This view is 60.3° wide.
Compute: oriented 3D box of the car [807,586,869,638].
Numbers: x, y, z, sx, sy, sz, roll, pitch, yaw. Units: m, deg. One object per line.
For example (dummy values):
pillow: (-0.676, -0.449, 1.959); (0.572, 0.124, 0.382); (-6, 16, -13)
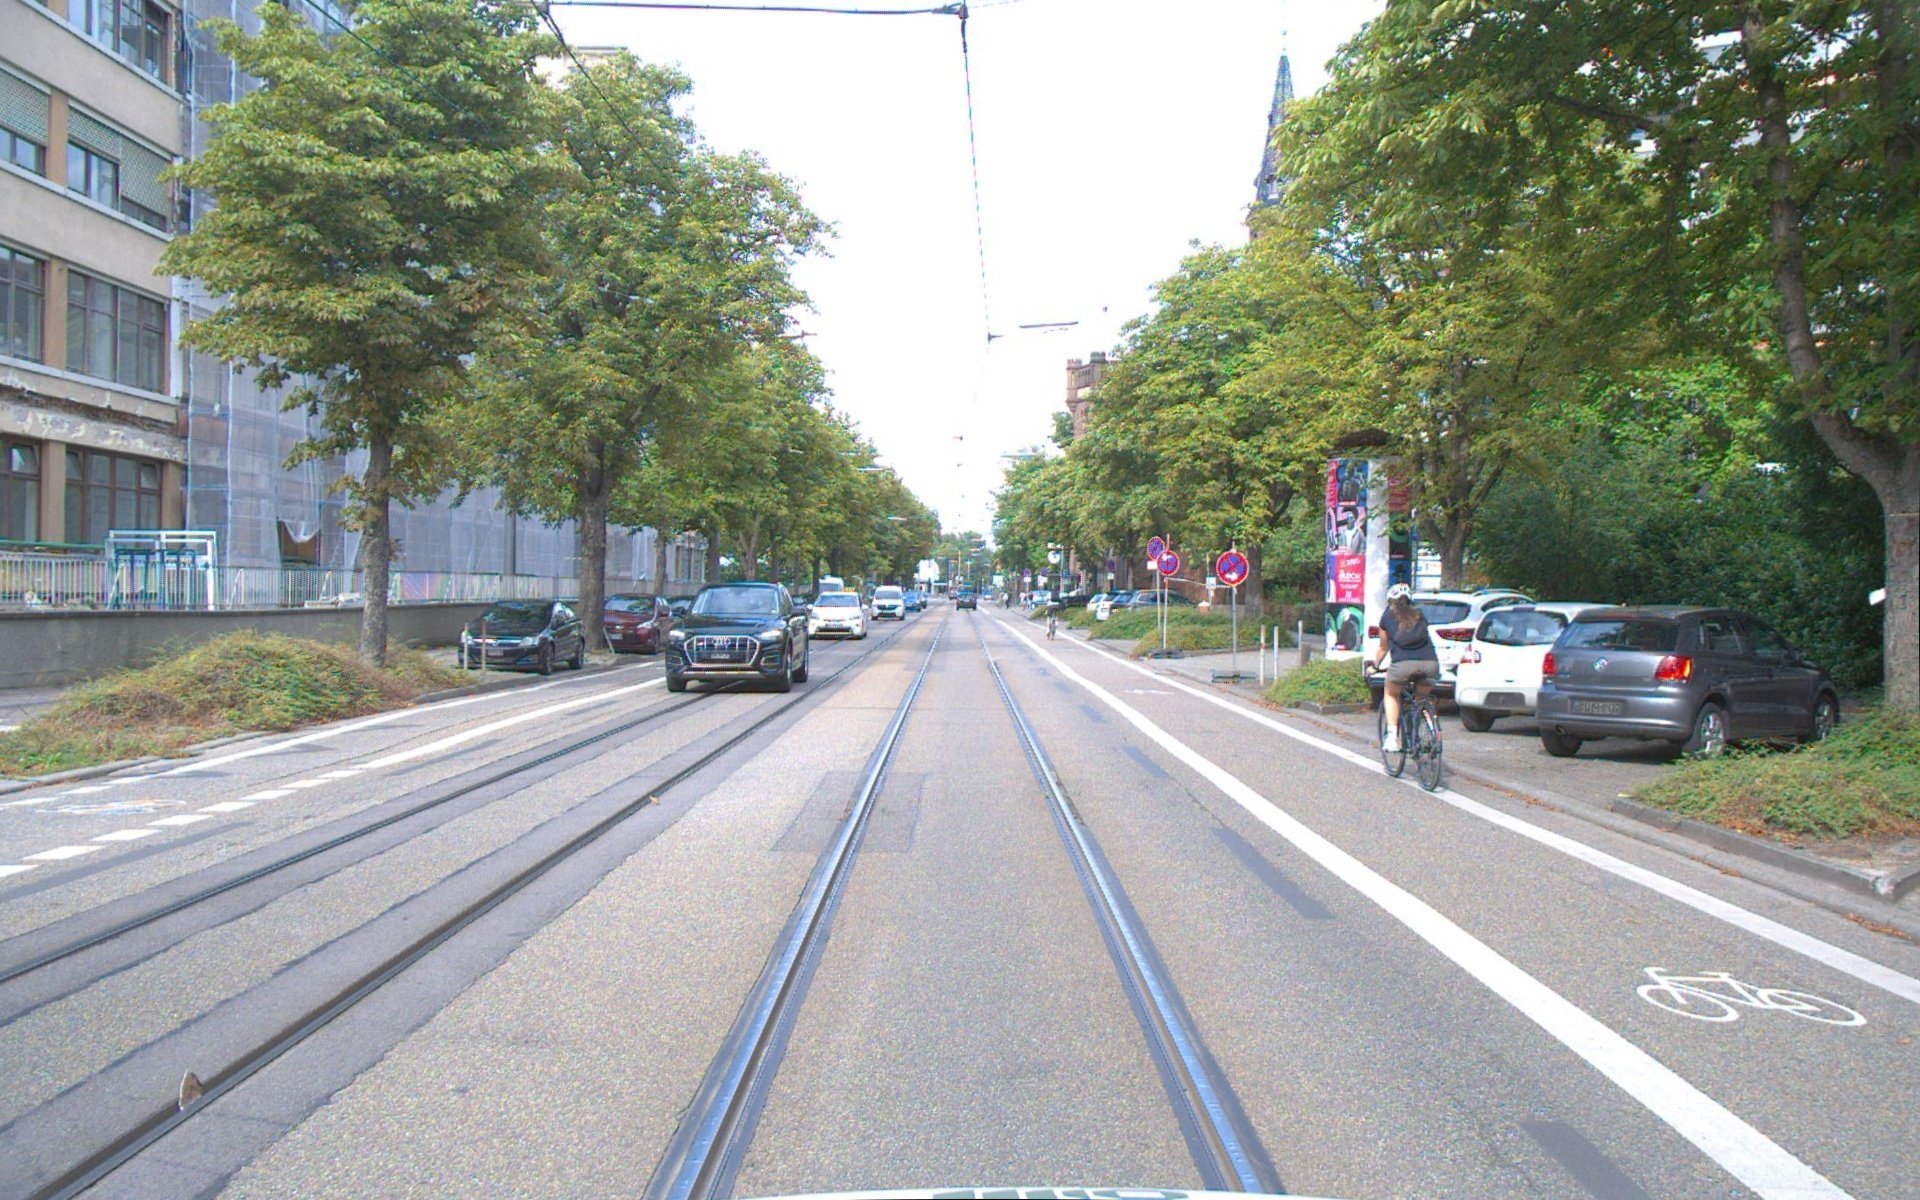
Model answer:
car: (-3.929, 0.360, 53.645); (1.697, 1.640, 4.334); (0, 0, 0)

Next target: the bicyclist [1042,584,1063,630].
bicyclist: (3.105, 0.242, 55.396); (0.645, 1.522, 0.929); (1, 0, 0)

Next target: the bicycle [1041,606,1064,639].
bicycle: (3.094, 0.734, 55.419); (0.650, 1.062, 1.841); (1, 0, 0)

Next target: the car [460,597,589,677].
car: (-8.385, 0.674, 32.112); (1.558, 1.427, 3.961); (1, 0, -2)

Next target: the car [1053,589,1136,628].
car: (5.760, 0.377, 70.611); (1.654, 1.630, 3.621); (0, 0, 44)

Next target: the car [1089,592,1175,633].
car: (7.147, 0.509, 68.484); (1.654, 1.630, 3.621); (0, 0, 44)

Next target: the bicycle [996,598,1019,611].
bicycle: (4.770, 0.450, 166.970); (2.226, 1.210, 0.769); (1, 0, 7)

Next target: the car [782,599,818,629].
car: (-7.988, 0.682, 82.807); (1.558, 1.427, 3.961); (1, 0, -2)

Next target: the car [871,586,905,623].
car: (-3.816, 0.207, 87.934); (1.697, 1.917, 4.376); (1, 0, -2)

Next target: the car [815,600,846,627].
car: (-7.281, 0.741, 93.011); (1.558, 1.427, 3.961); (1, 0, -2)

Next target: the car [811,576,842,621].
car: (-8.533, -0.113, 106.343); (1.686, 2.751, 5.468); (1, 0, -2)

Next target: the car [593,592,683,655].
car: (-8.267, 0.564, 42.773); (1.602, 1.522, 3.962); (1, 0, -1)

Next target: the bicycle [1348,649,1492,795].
bicycle: (3.838, 0.985, 13.946); (0.581, 1.062, 1.977); (1, 0, -2)

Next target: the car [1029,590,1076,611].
car: (8.080, 0.053, 144.864); (3.910, 1.722, 1.998); (1, 0, -6)

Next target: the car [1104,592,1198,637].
car: (7.148, 0.532, 61.686); (1.654, 1.630, 3.621); (0, 0, 44)

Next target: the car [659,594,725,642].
car: (-8.383, 0.537, 51.972); (1.558, 1.427, 3.961); (1, 0, -2)

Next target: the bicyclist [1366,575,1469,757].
bicyclist: (3.848, 0.538, 13.958); (0.581, 1.485, 0.875); (1, 0, -2)

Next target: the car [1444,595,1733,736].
car: (7.430, 0.719, 19.430); (3.612, 1.500, 1.658); (1, 0, -40)

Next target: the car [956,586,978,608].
car: (0.582, -0.263, 139.935); (1.758, 1.855, 4.677); (1, 0, -1)

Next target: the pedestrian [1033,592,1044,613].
pedestrian: (6.865, 0.249, 144.543); (0.732, 1.821, 0.731); (1, -1, 15)

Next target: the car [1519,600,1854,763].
car: (7.299, 0.743, 16.501); (3.612, 1.444, 1.658); (1, 0, -40)

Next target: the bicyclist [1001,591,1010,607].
bicyclist: (4.627, -0.111, 166.980); (0.828, 1.531, 0.769); (1, 0, 9)

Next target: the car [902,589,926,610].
car: (-3.450, -0.043, 125.231); (1.697, 1.522, 4.378); (0, 1, 0)

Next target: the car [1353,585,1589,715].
car: (7.043, 0.635, 22.641); (1.654, 1.630, 3.621); (0, 0, 44)

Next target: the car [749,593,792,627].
car: (-8.294, 0.437, 72.584); (1.558, 1.427, 3.961); (1, 0, -2)

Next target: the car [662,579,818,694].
car: (-3.376, 0.513, 26.172); (1.809, 1.640, 4.334); (1, 0, 1)
